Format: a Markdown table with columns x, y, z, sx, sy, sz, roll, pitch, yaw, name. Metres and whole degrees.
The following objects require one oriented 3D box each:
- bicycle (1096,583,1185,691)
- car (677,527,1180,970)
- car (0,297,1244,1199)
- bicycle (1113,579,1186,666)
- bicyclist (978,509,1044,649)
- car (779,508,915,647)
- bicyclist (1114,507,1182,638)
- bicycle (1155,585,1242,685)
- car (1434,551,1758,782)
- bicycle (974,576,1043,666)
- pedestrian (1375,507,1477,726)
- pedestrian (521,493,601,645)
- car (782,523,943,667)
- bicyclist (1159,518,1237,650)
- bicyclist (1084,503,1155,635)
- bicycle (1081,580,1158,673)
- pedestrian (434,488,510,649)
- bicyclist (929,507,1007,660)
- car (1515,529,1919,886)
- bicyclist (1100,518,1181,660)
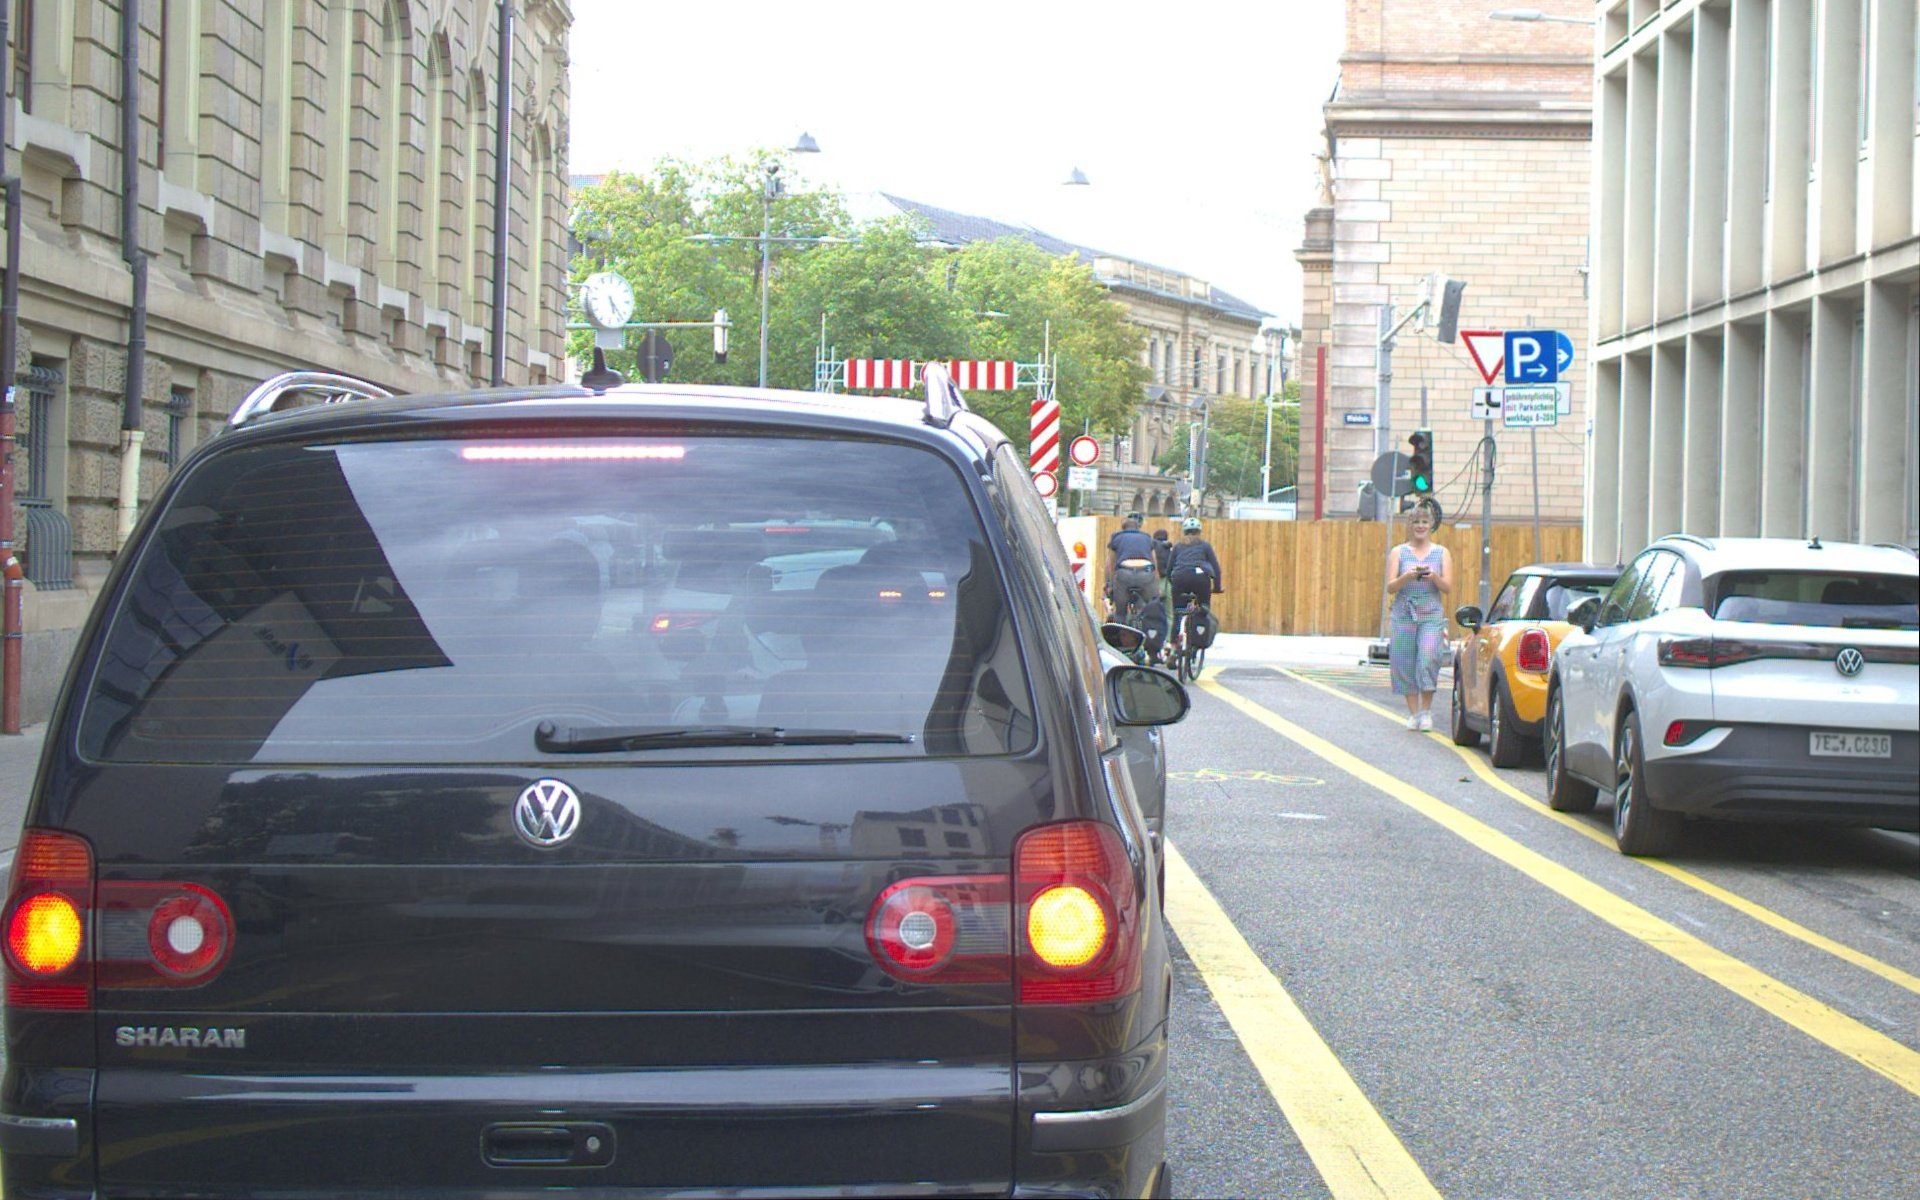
| x | y | z | sx | sy | sz | roll | pitch | yaw | name |
| --- | --- | --- | --- | --- | --- | --- | --- | --- | --- |
| 1.755 | 0.347 | 33.696 | 0.735 | 1.005 | 2.069 | 1 | 1 | -1 | bicycle |
| -0.028 | 0.483 | 13.735 | 1.678 | 1.464 | 4.103 | 1 | 1 | 2 | car |
| -0.461 | 0.485 | 6.599 | 1.790 | 1.784 | 4.103 | 1 | 1 | 2 | car |
| 2.279 | 0.254 | 41.490 | 0.735 | 1.005 | 2.069 | 1 | 1 | -1 | bicycle |
| 0.590 | -0.244 | 40.030 | 0.735 | 1.606 | 0.695 | 1 | 0 | -1 | bicyclist |
| -1.595 | -0.319 | 47.278 | 1.734 | 1.784 | 4.104 | 1 | 1 | -3 | car |
| 2.264 | -0.329 | 41.434 | 0.735 | 1.550 | 0.895 | 1 | 0 | -1 | bicyclist |
| 2.507 | 0.352 | 36.345 | 0.735 | 1.005 | 2.069 | 1 | 1 | -1 | bicycle |
| 4.525 | 0.426 | 24.951 | 1.680 | 1.430 | 3.886 | 4 | 1 | 2 | car |
| 0.559 | 0.233 | 40.109 | 0.735 | 1.005 | 2.069 | 1 | 1 | -1 | bicycle |
| 3.803 | 0.129 | 28.099 | 0.703 | 1.757 | 0.700 | 1 | 0 | -1 | pedestrian |
| -4.929 | -0.381 | 42.495 | 0.792 | 1.813 | 1.048 | 3 | 0 | -1 | pedestrian |
| -1.108 | -0.070 | 40.276 | 1.773 | 1.580 | 4.000 | 1 | 1 | -1 | car |
| 2.516 | -0.170 | 36.387 | 0.735 | 1.371 | 0.832 | 1 | 0 | -1 | bicyclist |
| 1.797 | -0.354 | 38.736 | 0.735 | 1.465 | 0.809 | 1 | 0 | -1 | bicyclist |
| 1.781 | 0.285 | 38.720 | 0.735 | 1.005 | 2.069 | 1 | 1 | -1 | bicycle |
| -5.688 | -0.367 | 40.096 | 0.664 | 1.813 | 1.048 | 3 | 0 | -1 | pedestrian |
| 0.073 | -0.166 | 33.822 | 0.735 | 1.473 | 0.884 | 1 | 0 | -1 | bicyclist |
| 4.255 | 0.502 | 18.530 | 1.860 | 1.599 | 4.512 | 4 | 1 | 2 | car |
| 1.770 | -0.112 | 33.813 | 0.735 | 1.372 | 0.829 | 1 | 0 | -1 | bicyclist |
